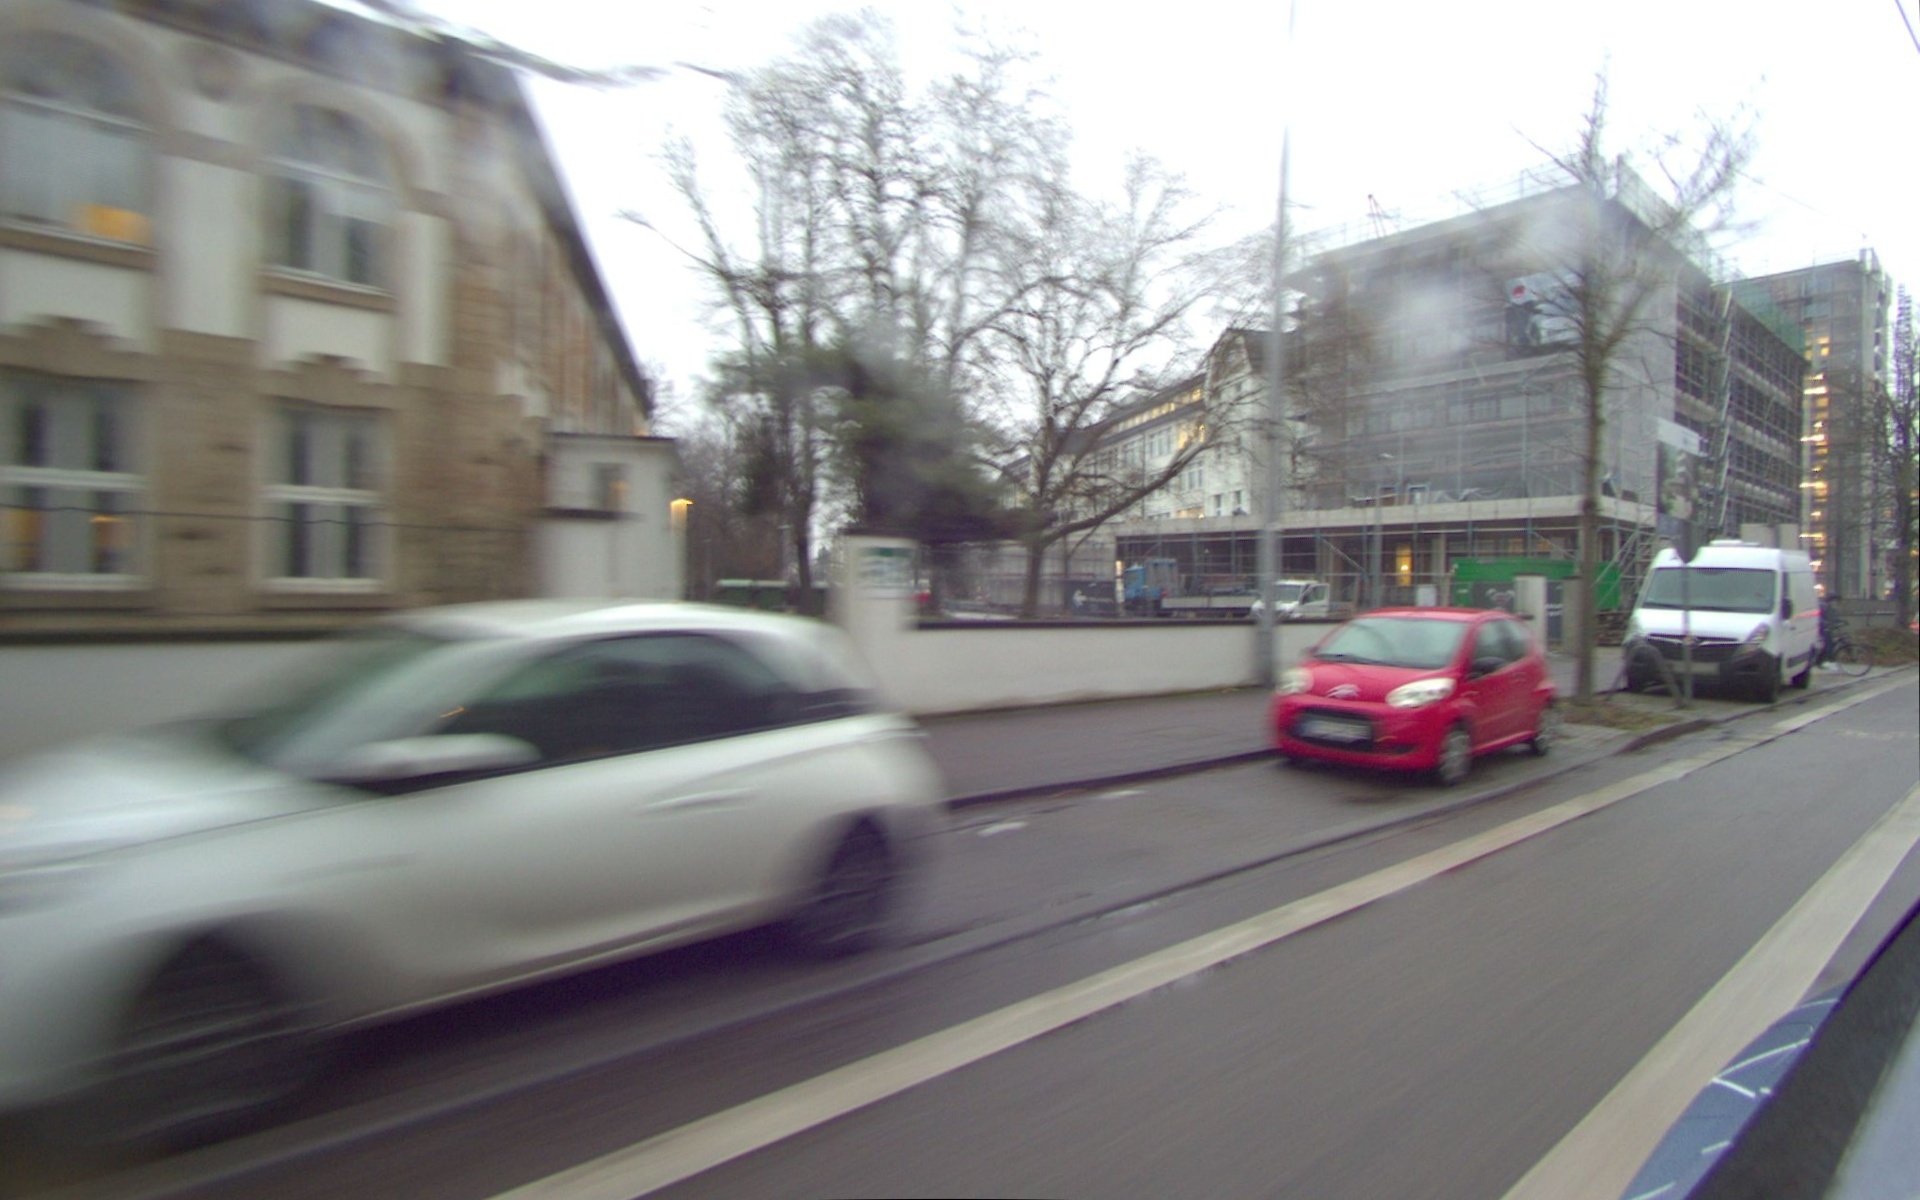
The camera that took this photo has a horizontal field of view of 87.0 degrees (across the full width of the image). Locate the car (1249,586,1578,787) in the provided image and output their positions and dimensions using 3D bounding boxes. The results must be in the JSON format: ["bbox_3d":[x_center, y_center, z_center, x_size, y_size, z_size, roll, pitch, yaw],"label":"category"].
[{"bbox_3d":[4.401,0.679,9.605,3.512,1.543,1.644,1,0,-43],"label":"car"}]

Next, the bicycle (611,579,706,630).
[{"bbox_3d":[-7.210,0.108,24.292,2.097,1.171,0.574,1,0,-10],"label":"bicycle"}]

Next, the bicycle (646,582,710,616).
[{"bbox_3d":[-9.969,-0.037,35.822,2.097,1.171,0.574,1,0,-10],"label":"bicycle"}]

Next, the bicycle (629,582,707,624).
[{"bbox_3d":[-8.413,0.085,29.193,2.097,1.171,0.574,1,0,-10],"label":"bicycle"}]

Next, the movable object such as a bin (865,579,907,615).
[{"bbox_3d":[-2.981,-0.121,40.503,1.297,1.333,1.064,3,0,-30],"label":"movable object such as a bin"}]

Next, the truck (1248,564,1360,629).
[{"bbox_3d":[15.197,-0.230,44.418,2.124,2.620,6.975,2,2,42],"label":"truck"}]

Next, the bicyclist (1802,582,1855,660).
[{"bbox_3d":[19.555,0.471,22.791,0.694,1.710,0.770,1,0,-40],"label":"bicyclist"}]

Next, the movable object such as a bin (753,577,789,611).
[{"bbox_3d":[-7.358,-0.231,39.367,1.225,1.296,0.990,1,0,-17],"label":"movable object such as a bin"}]

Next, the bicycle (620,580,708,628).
[{"bbox_3d":[-7.589,0.112,26.051,2.097,1.171,0.574,1,0,-10],"label":"bicycle"}]

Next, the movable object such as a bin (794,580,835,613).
[{"bbox_3d":[-5.703,-0.129,39.700,1.408,1.240,0.990,1,0,-17],"label":"movable object such as a bin"}]

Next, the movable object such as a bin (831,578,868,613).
[{"bbox_3d":[-4.373,-0.184,40.061,1.280,1.330,0.990,1,0,-17],"label":"movable object such as a bin"}]

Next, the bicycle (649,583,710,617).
[{"bbox_3d":[-10.181,0.000,36.783,2.097,1.171,0.574,1,0,-10],"label":"bicycle"}]

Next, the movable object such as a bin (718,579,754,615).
[{"bbox_3d":[-8.592,-0.131,38.727,1.237,1.330,0.990,1,0,-17],"label":"movable object such as a bin"}]

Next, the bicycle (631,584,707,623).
[{"bbox_3d":[-8.723,0.097,30.399,2.097,1.106,0.574,1,0,-10],"label":"bicycle"}]

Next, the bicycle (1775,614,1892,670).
[{"bbox_3d":[19.589,0.917,22.732,0.718,1.147,1.892,1,0,-40],"label":"bicycle"}]

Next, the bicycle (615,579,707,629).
[{"bbox_3d":[-7.404,0.094,25.138,2.097,1.171,0.574,1,0,-10],"label":"bicycle"}]

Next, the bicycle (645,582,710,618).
[{"bbox_3d":[-9.747,0.010,34.958,2.097,1.171,0.574,1,0,-10],"label":"bicycle"}]

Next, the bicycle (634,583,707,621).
[{"bbox_3d":[-8.937,0.069,31.289,2.097,1.124,0.574,1,0,-10],"label":"bicycle"}]

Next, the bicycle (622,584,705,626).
[{"bbox_3d":[-8.169,0.148,27.938,2.097,1.029,0.574,3,0,-10],"label":"bicycle"}]

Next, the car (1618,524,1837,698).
[{"bbox_3d":[13.238,0.164,17.301,5.347,2.518,2.126,1,0,-44],"label":"car"}]

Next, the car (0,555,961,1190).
[{"bbox_3d":[-1.895,0.653,3.972,3.574,1.539,1.694,1,1,-42],"label":"car"}]

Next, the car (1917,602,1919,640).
[{"bbox_3d":[38.204,0.843,38.801,3.669,1.404,1.753,1,1,-39],"label":"car"}]

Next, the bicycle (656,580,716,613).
[{"bbox_3d":[-10.229,-0.118,37.772,2.097,1.171,0.574,1,0,-10],"label":"bicycle"}]
